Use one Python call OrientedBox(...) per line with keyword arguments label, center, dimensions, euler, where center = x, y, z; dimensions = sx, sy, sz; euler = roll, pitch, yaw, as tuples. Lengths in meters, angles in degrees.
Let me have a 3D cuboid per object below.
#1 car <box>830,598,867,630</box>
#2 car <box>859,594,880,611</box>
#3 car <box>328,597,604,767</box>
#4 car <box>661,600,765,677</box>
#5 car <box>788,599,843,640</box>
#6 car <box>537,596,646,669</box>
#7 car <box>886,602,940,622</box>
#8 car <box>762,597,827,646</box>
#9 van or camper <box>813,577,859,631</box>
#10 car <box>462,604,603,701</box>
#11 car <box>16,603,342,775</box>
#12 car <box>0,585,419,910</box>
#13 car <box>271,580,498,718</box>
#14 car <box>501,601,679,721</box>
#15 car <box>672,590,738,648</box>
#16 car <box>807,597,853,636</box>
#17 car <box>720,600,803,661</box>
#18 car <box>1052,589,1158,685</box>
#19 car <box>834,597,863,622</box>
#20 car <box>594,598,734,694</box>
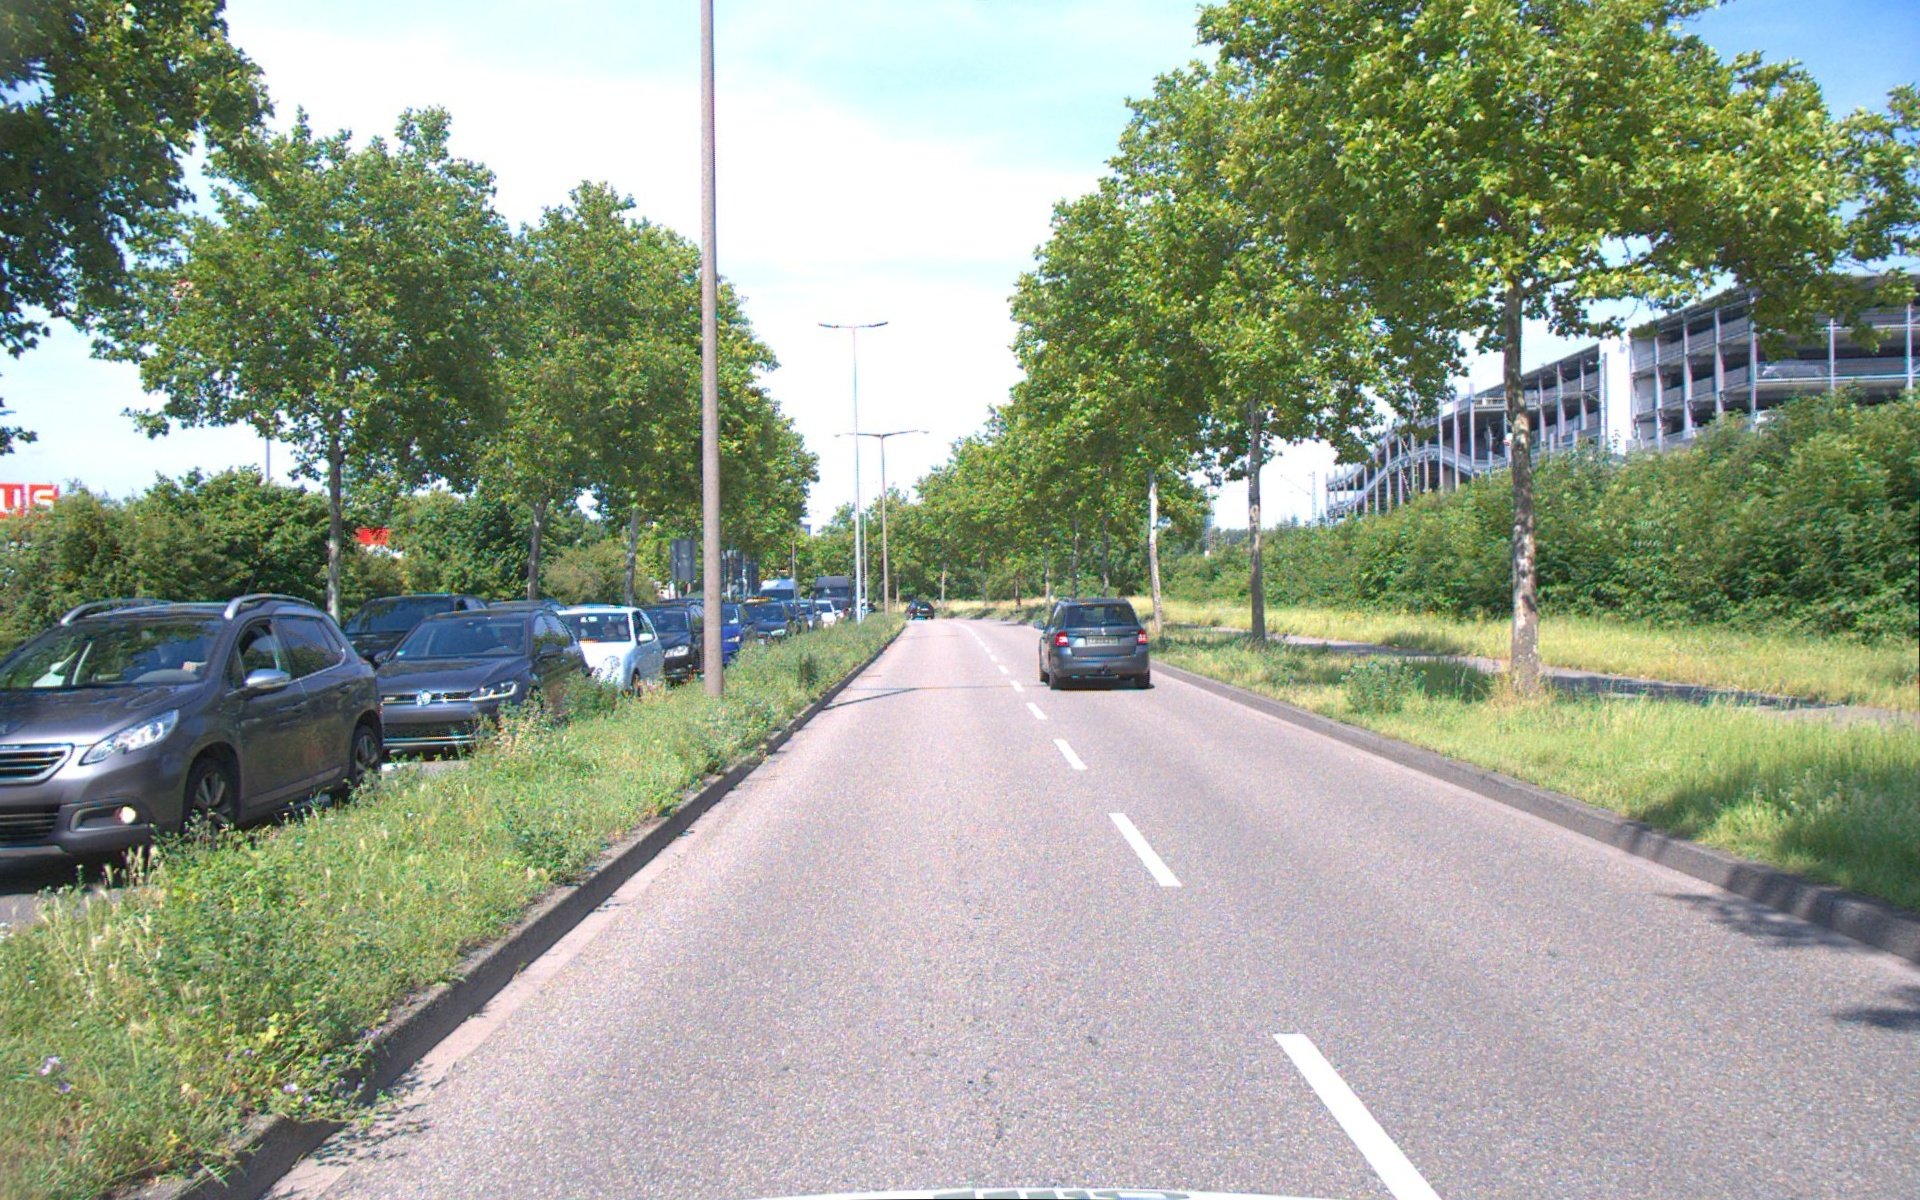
OrientedBox(label="car", center=(-5.808, 0.745, 86.660), dimensions=(1.654, 1.557, 3.814), euler=(-2, -1, -1))
OrientedBox(label="car", center=(-8.390, 0.261, 153.373), dimensions=(1.870, 1.489, 4.578), euler=(-2, -1, -4))
OrientedBox(label="car", center=(-5.086, 0.766, 17.615), dimensions=(1.654, 1.499, 4.217), euler=(-3, 0, -1))
OrientedBox(label="car", center=(-5.372, 0.793, 36.402), dimensions=(1.748, 1.515, 4.210), euler=(-2, 0, -2))
OrientedBox(label="car", center=(-5.516, 0.721, 63.567), dimensions=(1.747, 1.484, 4.471), euler=(-1, 0, -1))
OrientedBox(label="car", center=(-8.525, 0.716, 38.588), dimensions=(1.654, 1.556, 3.938), euler=(-2, 0, -1))
OrientedBox(label="car", center=(-3.692, 0.933, 129.399), dimensions=(1.896, 1.488, 4.555), euler=(-1, 2, -39))
OrientedBox(label="car", center=(-5.698, 0.722, 57.502), dimensions=(1.776, 1.556, 4.641), euler=(-2, 0, 0))
OrientedBox(label="van or camper", center=(-5.894, 0.210, 79.145), dimensions=(1.899, 2.410, 5.395), euler=(-2, -1, -2))
OrientedBox(label="car", center=(-8.251, 0.963, 32.249), dimensions=(1.654, 1.675, 4.177), euler=(-2, 0, -1))
OrientedBox(label="car", center=(-8.349, 0.868, 18.112), dimensions=(1.655, 1.556, 4.082), euler=(-3, 0, -2))
OrientedBox(label="car", center=(-4.949, 0.747, 10.459), dimensions=(1.654, 1.614, 4.239), euler=(-2, 0, -1))
OrientedBox(label="car", center=(-8.271, 0.676, 24.254), dimensions=(1.785, 1.767, 4.766), euler=(-2, -1, -2))
OrientedBox(label="car", center=(-5.134, 0.793, 23.401), dimensions=(1.654, 1.497, 3.814), euler=(-2, 0, -1))
OrientedBox(label="car", center=(-8.772, 0.651, 57.217), dimensions=(1.654, 1.891, 4.035), euler=(-2, 0, -1))
OrientedBox(label="car", center=(-5.482, 0.685, 69.996), dimensions=(1.654, 1.537, 3.814), euler=(-2, 0, -1))
OrientedBox(label="car", center=(-5.268, 0.770, 44.296), dimensions=(1.787, 1.491, 4.448), euler=(-2, 0, -2))
OrientedBox(label="car", center=(2.412, 0.569, 27.951), dimensions=(1.639, 1.479, 4.038), euler=(1, 0, 4))
OrientedBox(label="car", center=(-7.417, 0.617, 110.553), dimensions=(1.654, 1.556, 3.814), euler=(-2, 0, -1))
OrientedBox(label="car", center=(-5.358, 0.782, 30.538), dimensions=(1.722, 1.556, 4.827), euler=(-2, 0, -1))
